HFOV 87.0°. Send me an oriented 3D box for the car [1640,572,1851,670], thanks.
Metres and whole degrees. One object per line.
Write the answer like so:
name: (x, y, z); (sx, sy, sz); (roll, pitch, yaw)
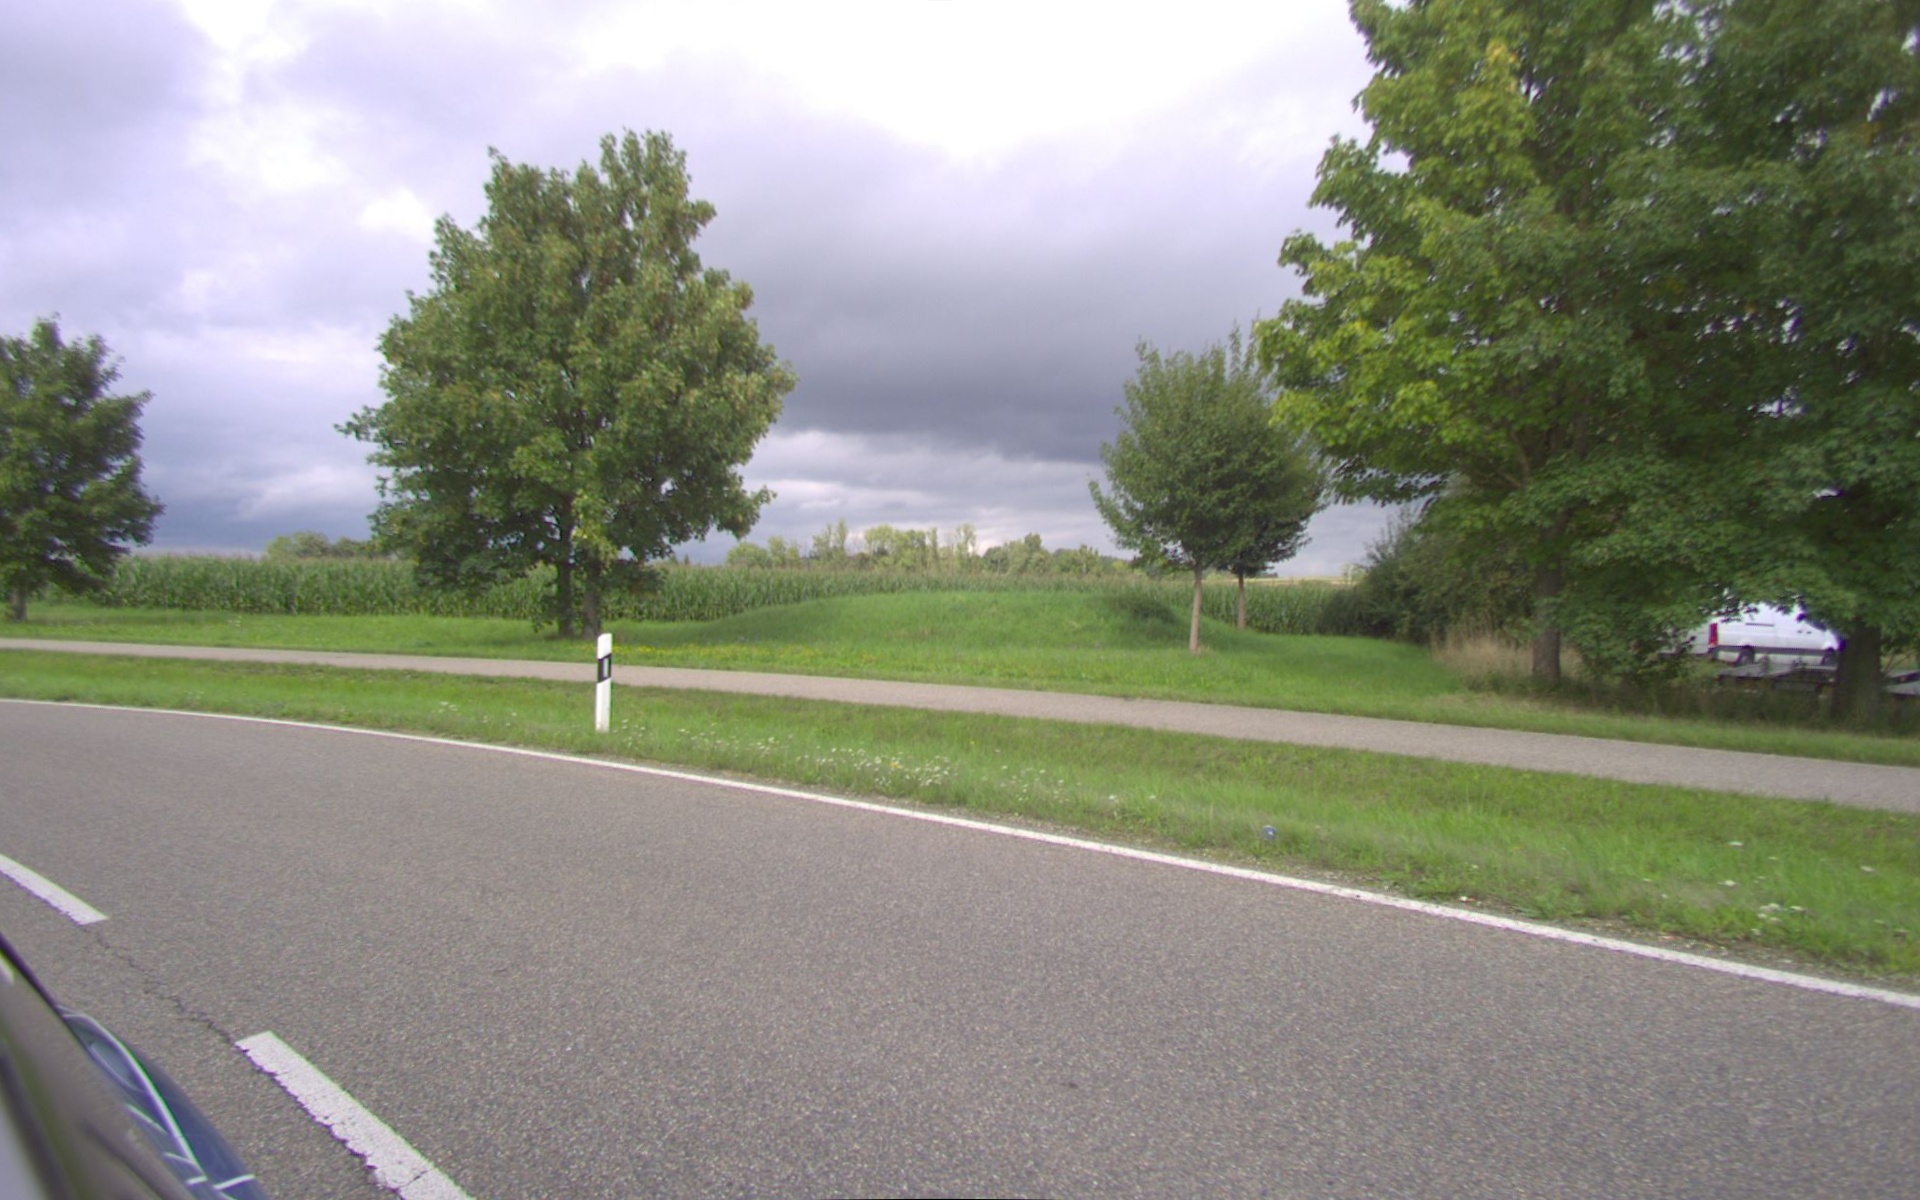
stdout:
car: (22.977, 0.635, 29.566); (6.225, 2.639, 2.208); (1, -1, -24)
